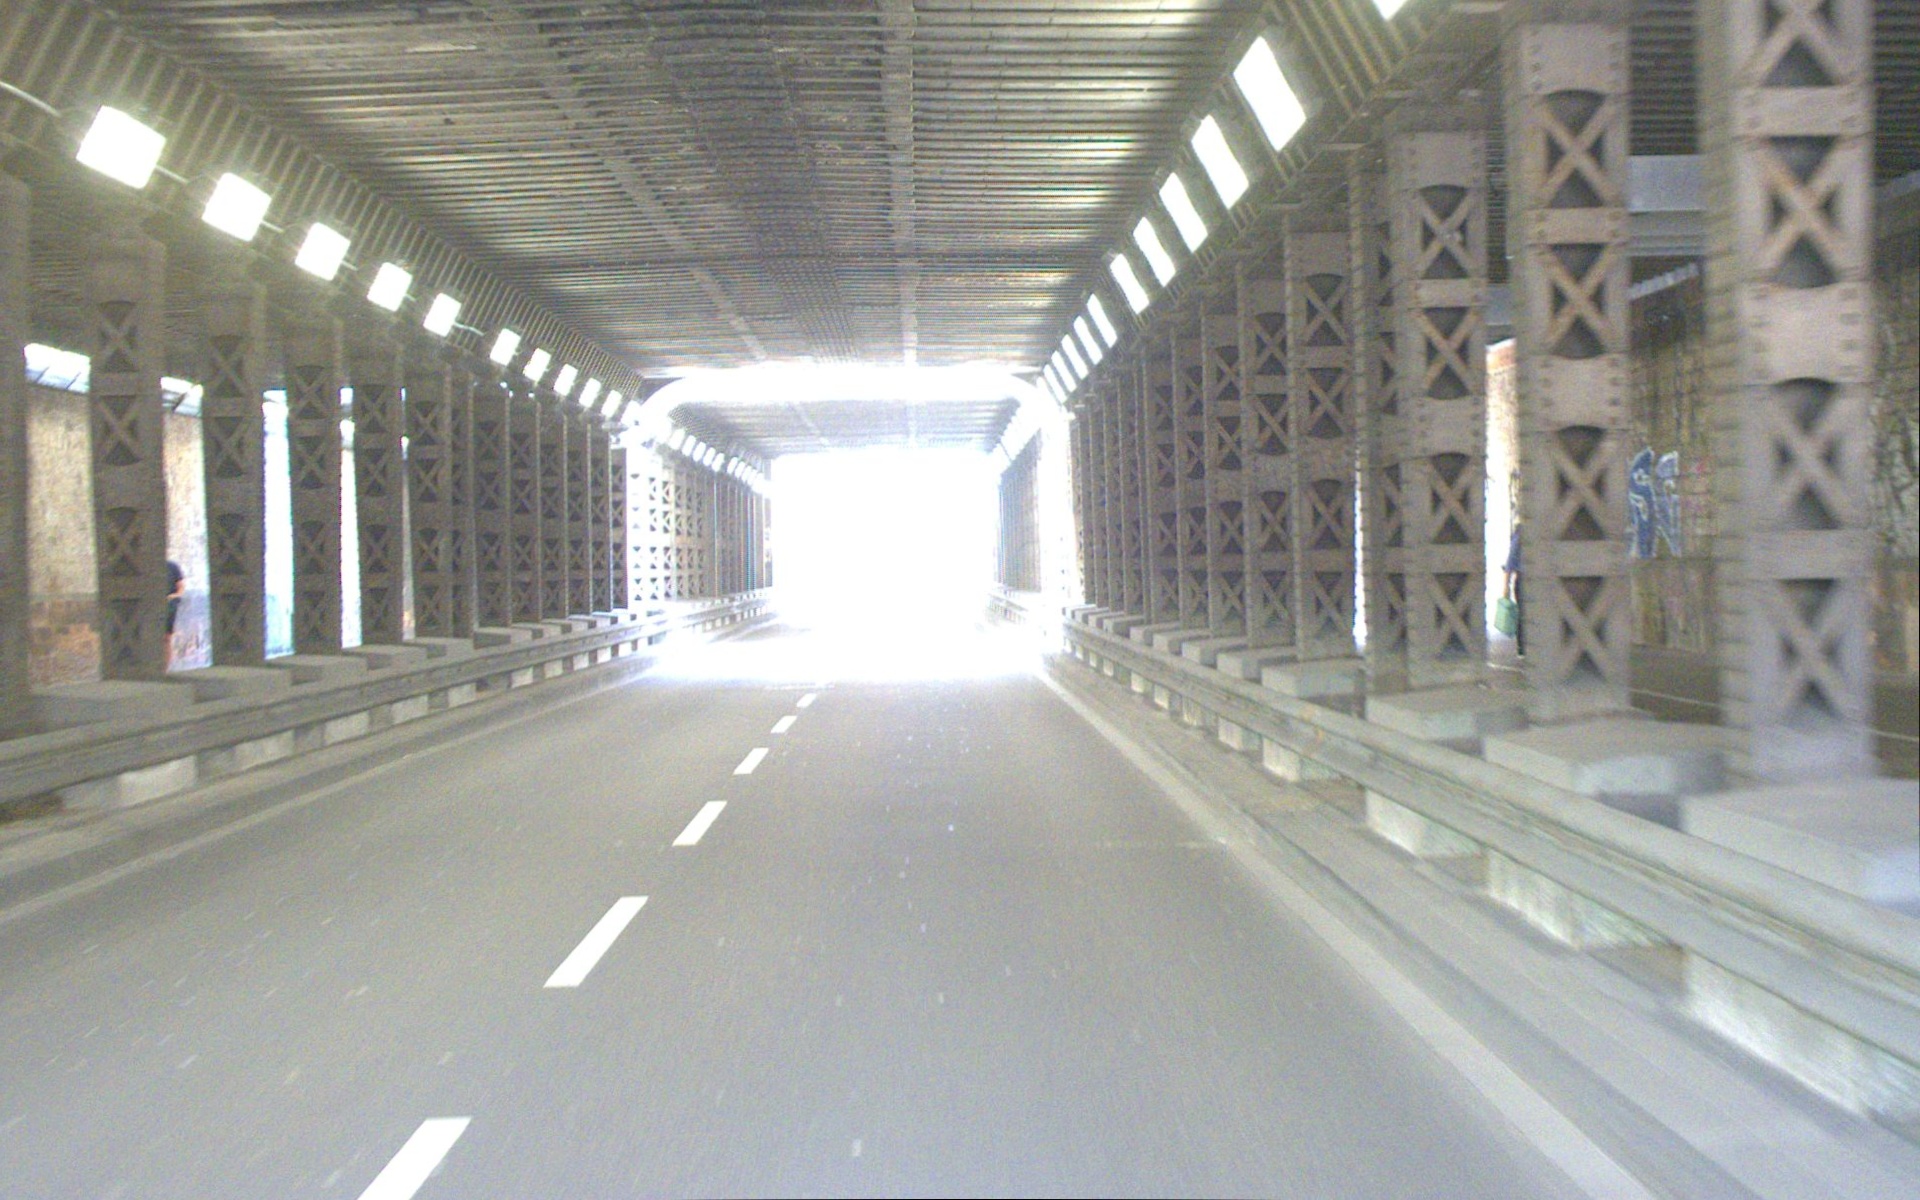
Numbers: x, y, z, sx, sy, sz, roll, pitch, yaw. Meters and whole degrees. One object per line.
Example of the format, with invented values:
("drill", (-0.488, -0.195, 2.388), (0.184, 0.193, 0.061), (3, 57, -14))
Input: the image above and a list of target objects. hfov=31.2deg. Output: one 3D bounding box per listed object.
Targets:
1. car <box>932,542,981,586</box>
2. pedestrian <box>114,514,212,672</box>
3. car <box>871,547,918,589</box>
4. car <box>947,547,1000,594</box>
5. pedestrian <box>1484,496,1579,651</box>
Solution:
("car", (-0.148, -1.516, 144.668), (1.993, 1.778, 4.000), (-1, 1, -1))
("pedestrian", (-10.514, -0.082, 45.390), (0.958, 2.048, 1.355), (0, -1, 0))
("car", (-2.863, -1.390, 150.489), (1.993, 1.778, 4.000), (-1, 1, -1))
("car", (0.500, -1.162, 134.692), (1.993, 1.778, 4.000), (-1, 1, -1))
("pedestrian", (6.432, -0.302, 38.721), (0.800, 1.696, 1.111), (-2, 1, -1))
